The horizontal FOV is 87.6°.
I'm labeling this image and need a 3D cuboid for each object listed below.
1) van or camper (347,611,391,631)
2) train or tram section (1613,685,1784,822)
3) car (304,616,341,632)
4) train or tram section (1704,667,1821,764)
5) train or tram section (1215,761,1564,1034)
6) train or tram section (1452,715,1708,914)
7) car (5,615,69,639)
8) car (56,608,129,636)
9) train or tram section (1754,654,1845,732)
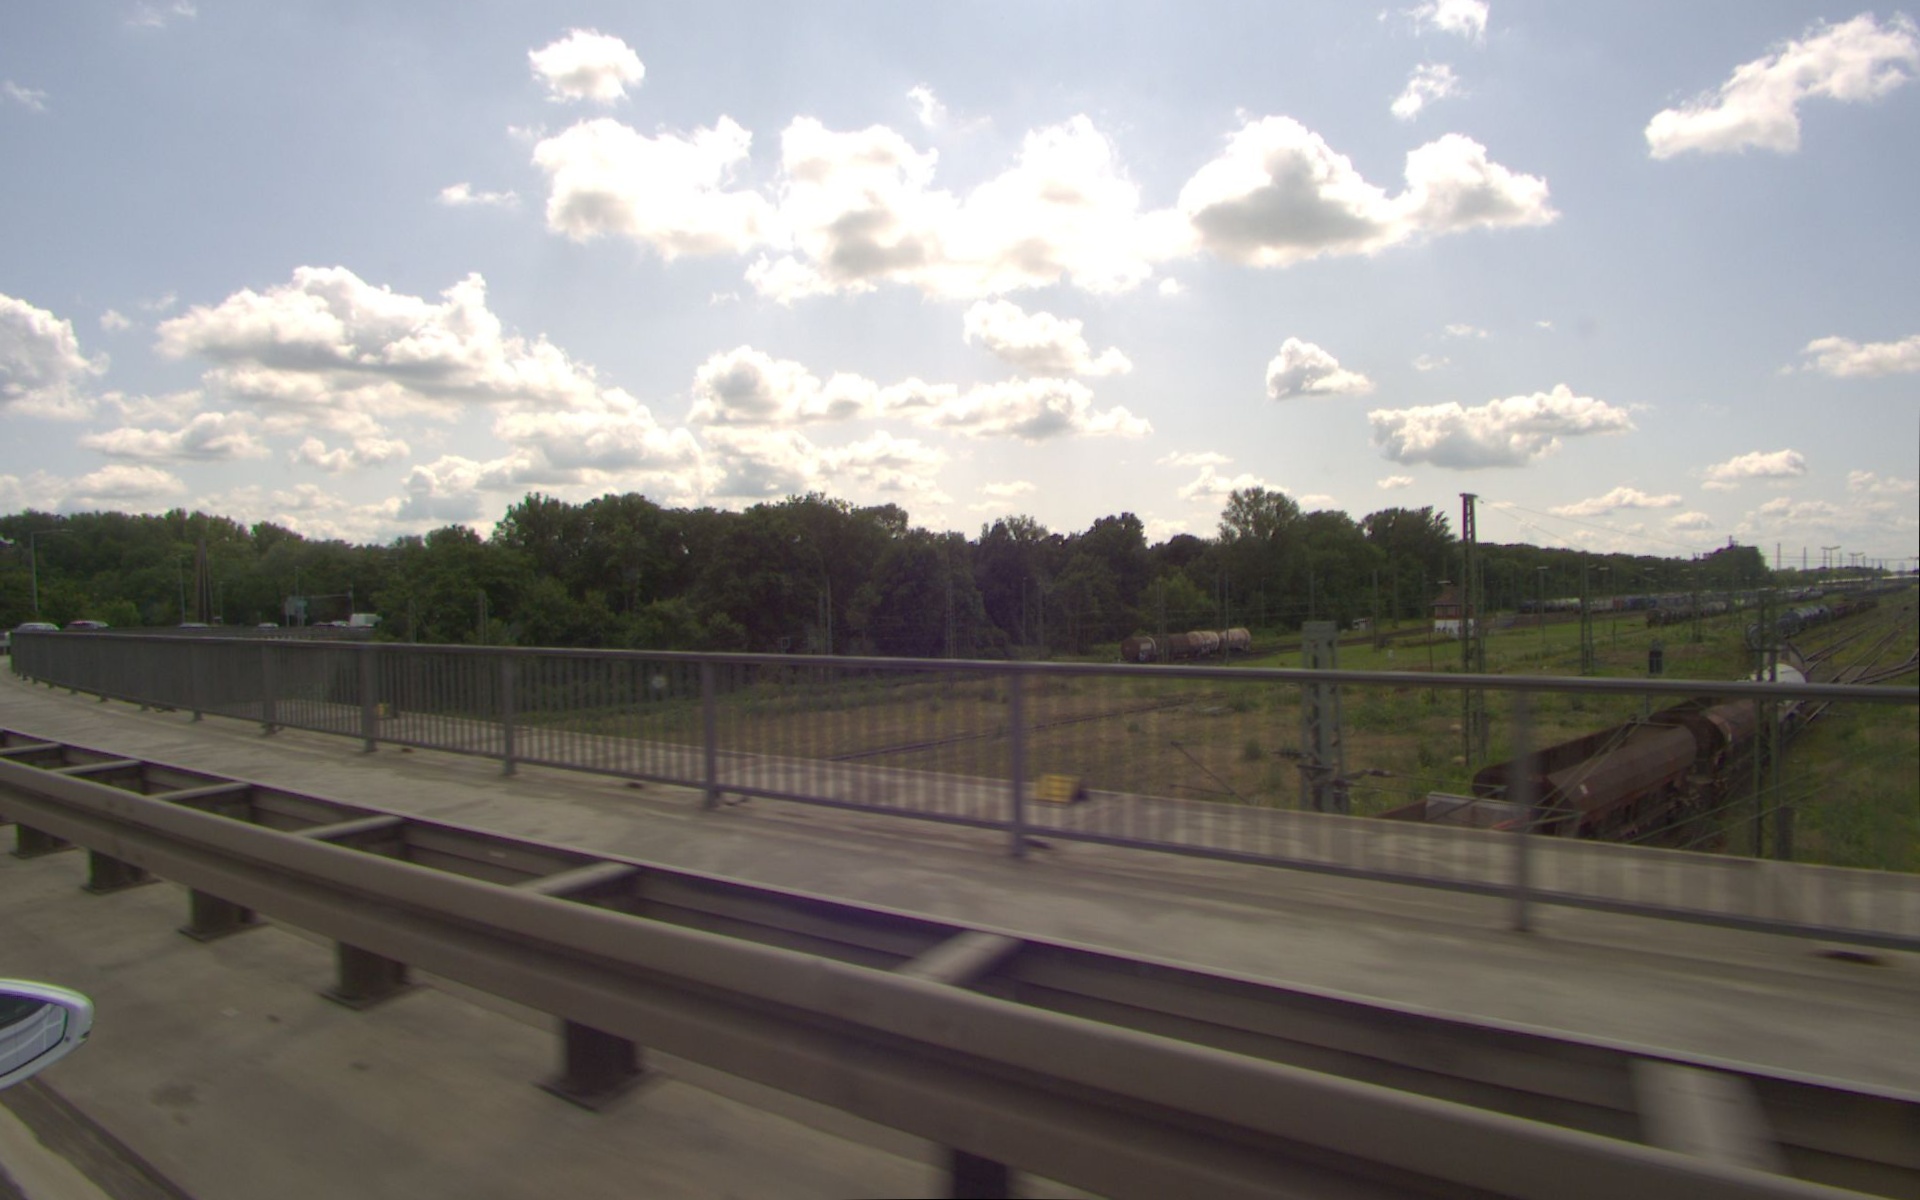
[{"bbox_3d":[-71.359,2.563,121.048,2.236,2.371,5.242,1,-1,-1],"label":"van or camper"},{"bbox_3d":[35.577,6.787,47.653,18.707,4.205,3.192,-1,-3,-44],"label":"train or tram section"},{"bbox_3d":[-66.682,2.524,104.759,1.706,1.673,3.855,1,-1,-6],"label":"car"},{"bbox_3d":[48.342,6.600,59.979,16.795,4.205,3.189,-1,-3,-44],"label":"train or tram section"},{"bbox_3d":[11.745,7.148,26.359,11.926,4.205,3.107,-1,-2,-39],"label":"train or tram section"},{"bbox_3d":[22.628,6.964,35.661,16.430,4.205,3.115,-1,-2,-42],"label":"train or tram section"},{"bbox_3d":[-61.922,1.774,67.274,1.783,1.555,4.335,1,-1,-23],"label":"car"},{"bbox_3d":[-55.534,1.423,64.183,1.793,1.673,3.853,1,-1,-11],"label":"car"},{"bbox_3d":[60.606,6.427,72.032,17.523,4.205,3.183,-1,-3,-45],"label":"train or tram section"}]
